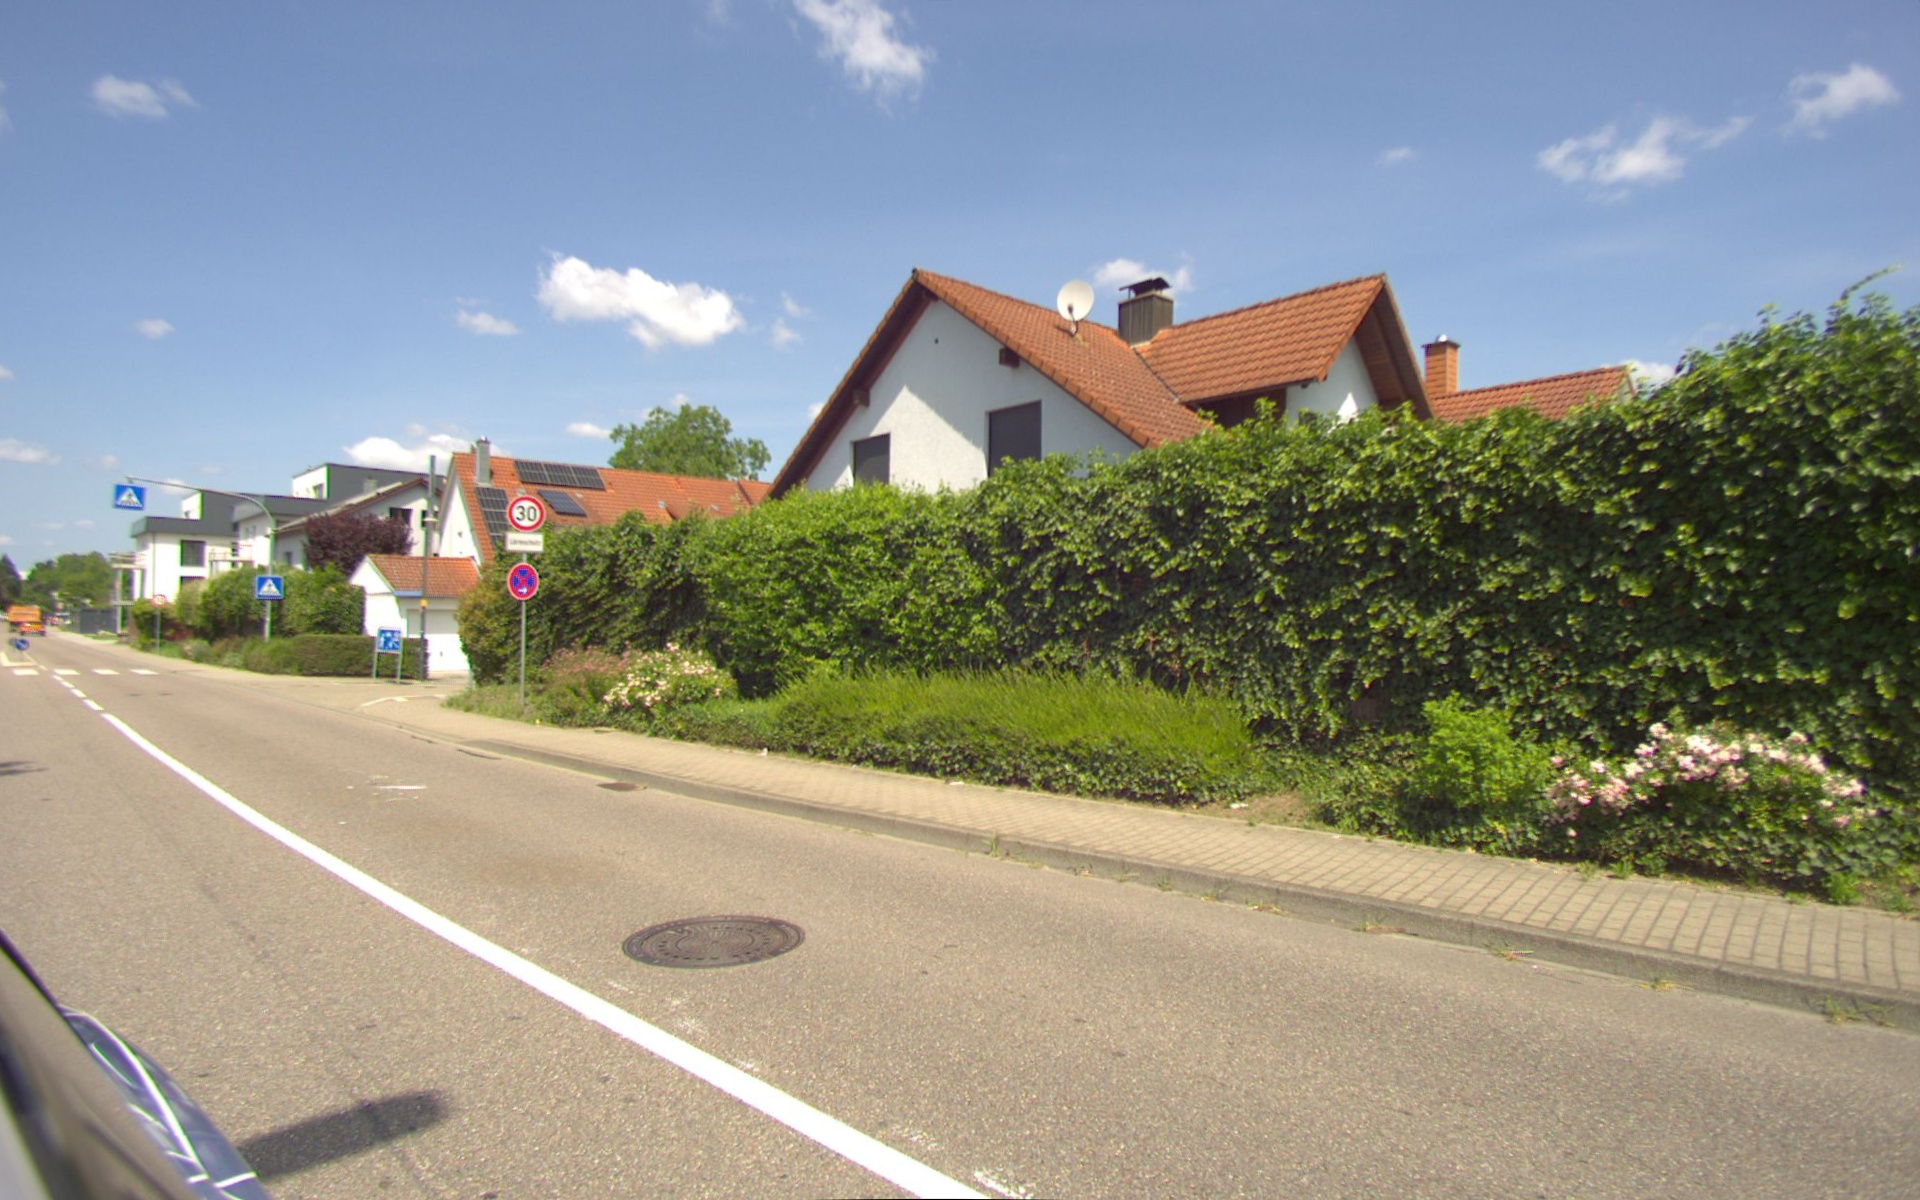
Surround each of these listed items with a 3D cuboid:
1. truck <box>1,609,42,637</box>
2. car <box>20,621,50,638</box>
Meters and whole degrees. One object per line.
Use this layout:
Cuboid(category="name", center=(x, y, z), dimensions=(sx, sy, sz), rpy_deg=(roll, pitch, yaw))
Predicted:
Cuboid(category="truck", center=(-98.467, 2.420, 106.130), dimensions=(2.824, 2.731, 6.796), rpy_deg=(4, -3, -45))
Cuboid(category="car", center=(-83.917, 2.672, 91.809), dimensions=(1.774, 1.500, 3.615), rpy_deg=(4, -4, -45))
